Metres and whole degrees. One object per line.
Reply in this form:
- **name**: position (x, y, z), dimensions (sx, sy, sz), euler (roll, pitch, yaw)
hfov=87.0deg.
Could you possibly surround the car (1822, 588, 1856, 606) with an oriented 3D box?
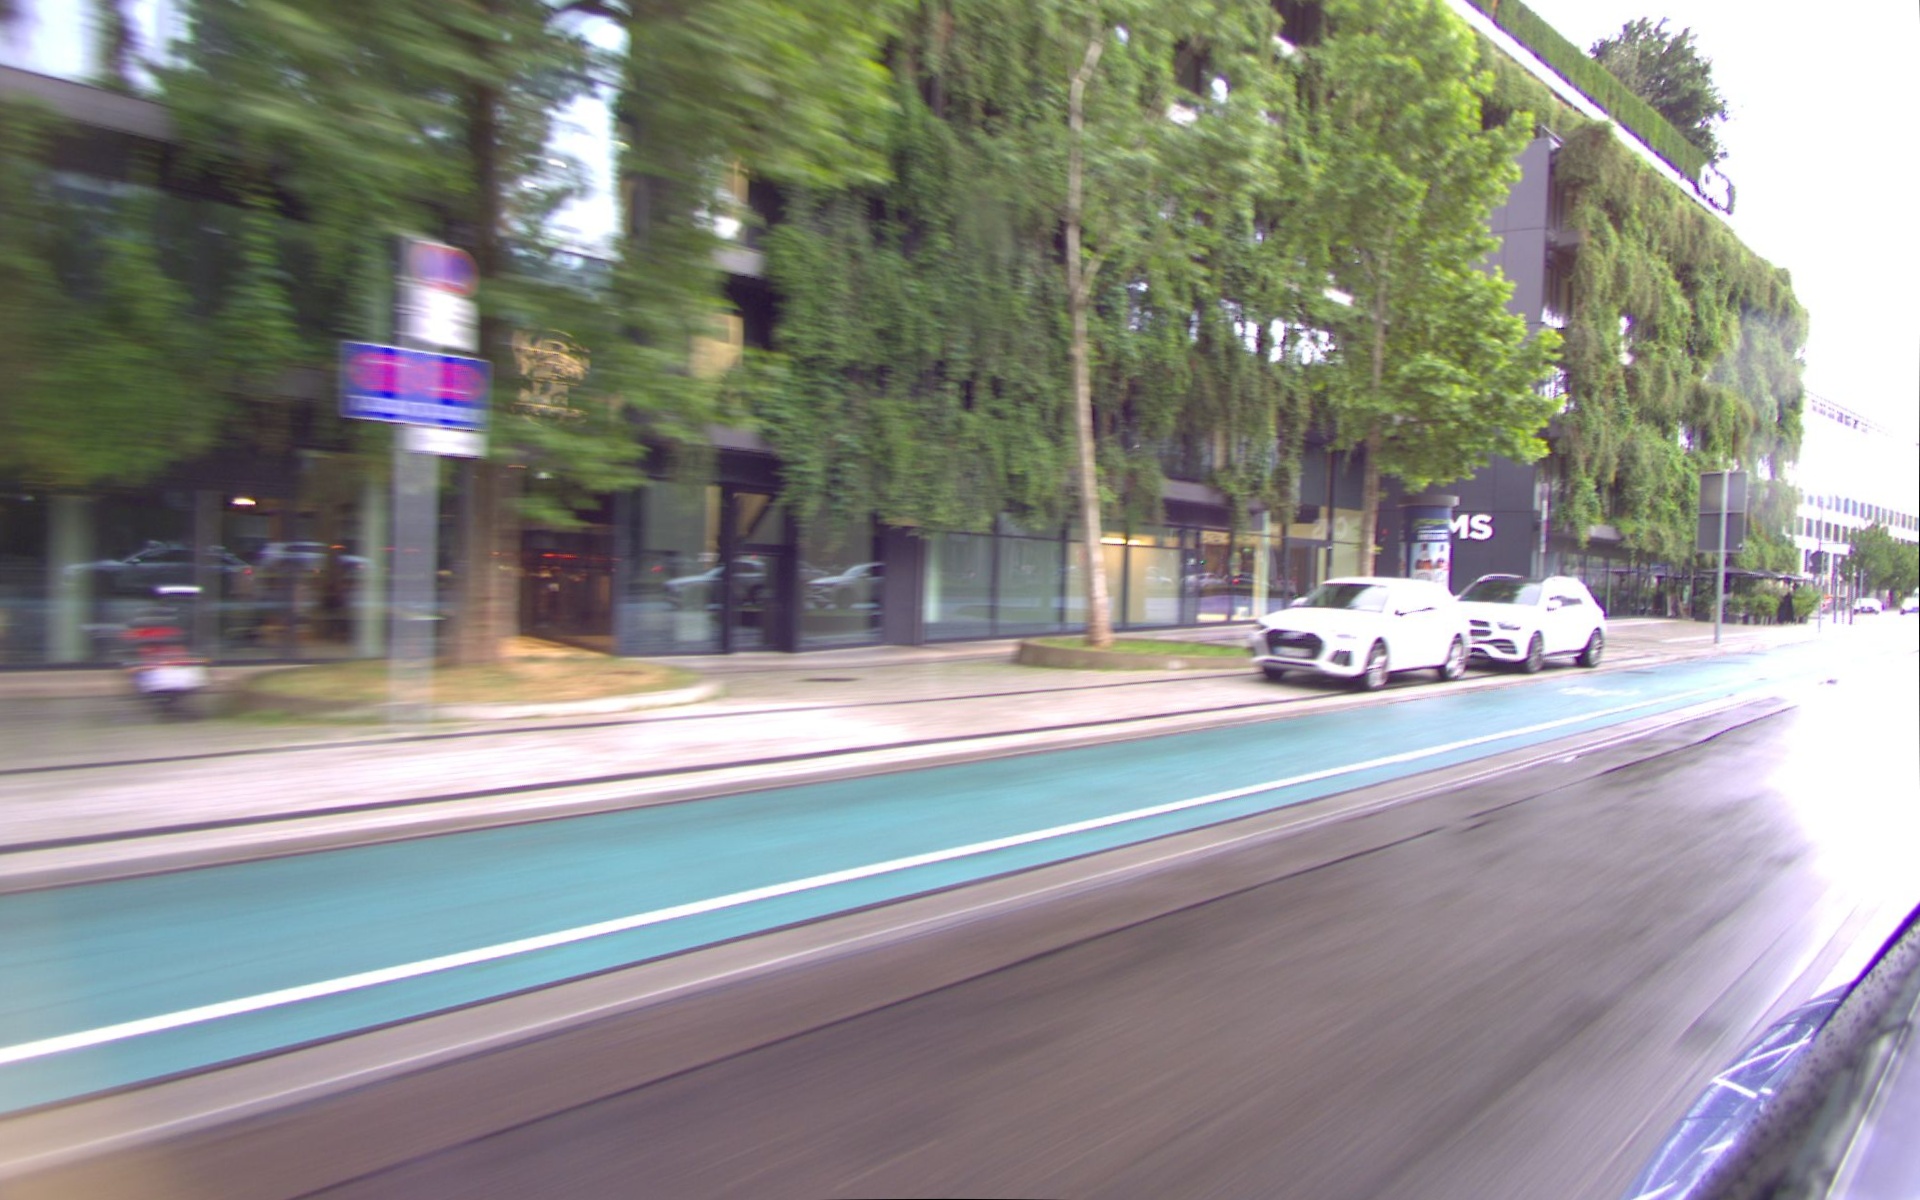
- **car**: position (82.733, -0.304, 95.242), dimensions (4.588, 1.571, 1.738), euler (0, 2, -40)

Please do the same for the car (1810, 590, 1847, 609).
- **car**: position (77.243, -0.080, 89.991), dimensions (4.588, 1.571, 1.738), euler (0, 2, -40)

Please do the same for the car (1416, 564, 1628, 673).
- **car**: position (11.169, 0.307, 19.957), dimensions (5.001, 1.860, 1.848), euler (0, 2, -39)

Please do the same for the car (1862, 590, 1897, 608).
- **car**: position (81.031, -0.102, 89.148), dimensions (4.588, 1.571, 1.738), euler (0, 1, -40)

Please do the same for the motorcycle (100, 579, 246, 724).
- **motorcycle**: position (-7.971, 0.454, 10.203), dimensions (1.034, 1.286, 2.311), euler (1, 0, -41)

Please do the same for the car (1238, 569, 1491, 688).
- **car**: position (6.623, 0.384, 16.310), dimensions (4.703, 1.653, 1.847), euler (0, 1, -41)

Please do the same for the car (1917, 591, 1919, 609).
- **car**: position (86.092, 0.028, 89.378), dimensions (4.588, 1.571, 1.738), euler (0, 2, -40)
